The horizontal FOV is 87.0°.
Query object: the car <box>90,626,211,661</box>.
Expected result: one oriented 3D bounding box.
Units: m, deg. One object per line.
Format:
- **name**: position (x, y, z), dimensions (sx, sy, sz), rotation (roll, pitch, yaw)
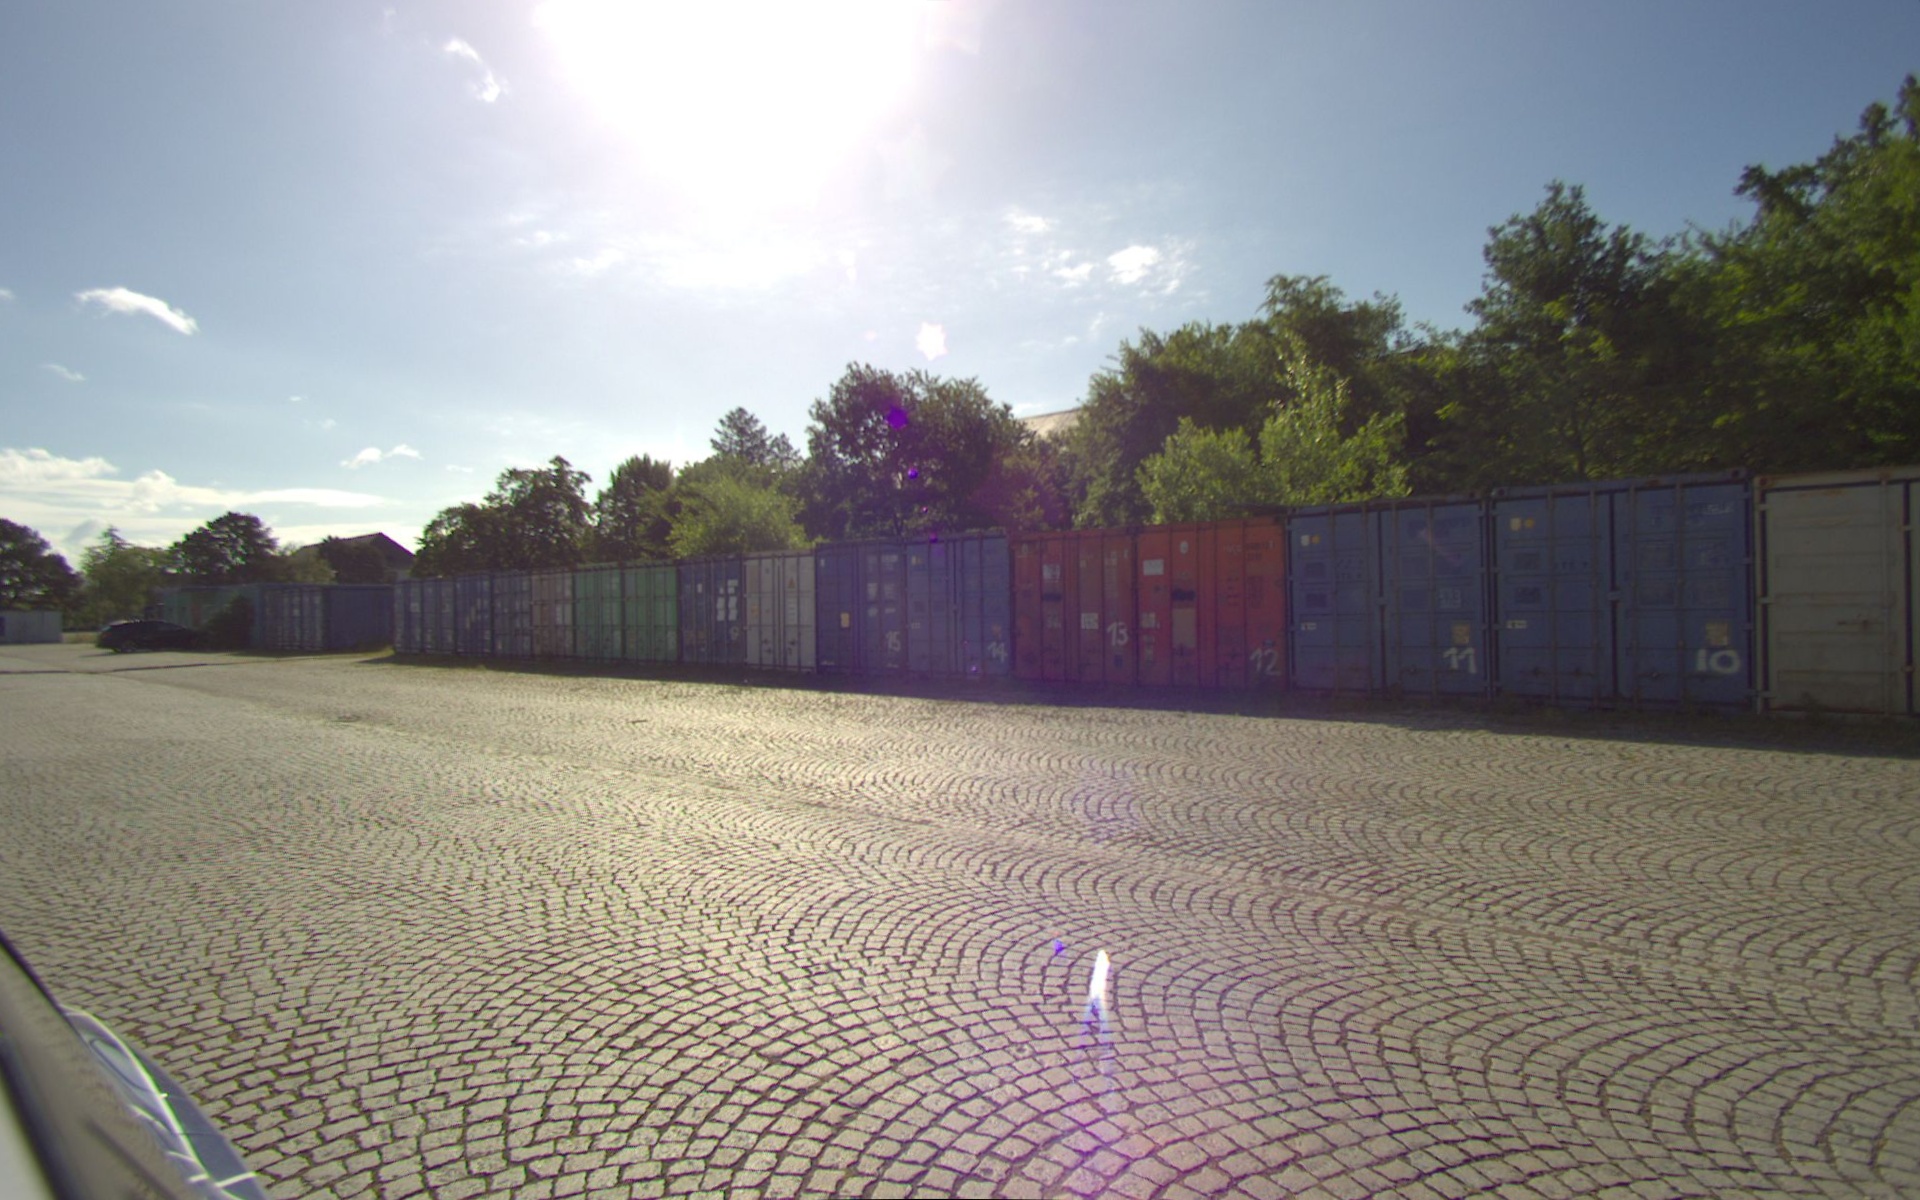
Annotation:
- **car**: position (-37.632, 1.984, 47.133), dimensions (1.998, 1.306, 4.062), rotation (-1, 2, 39)
